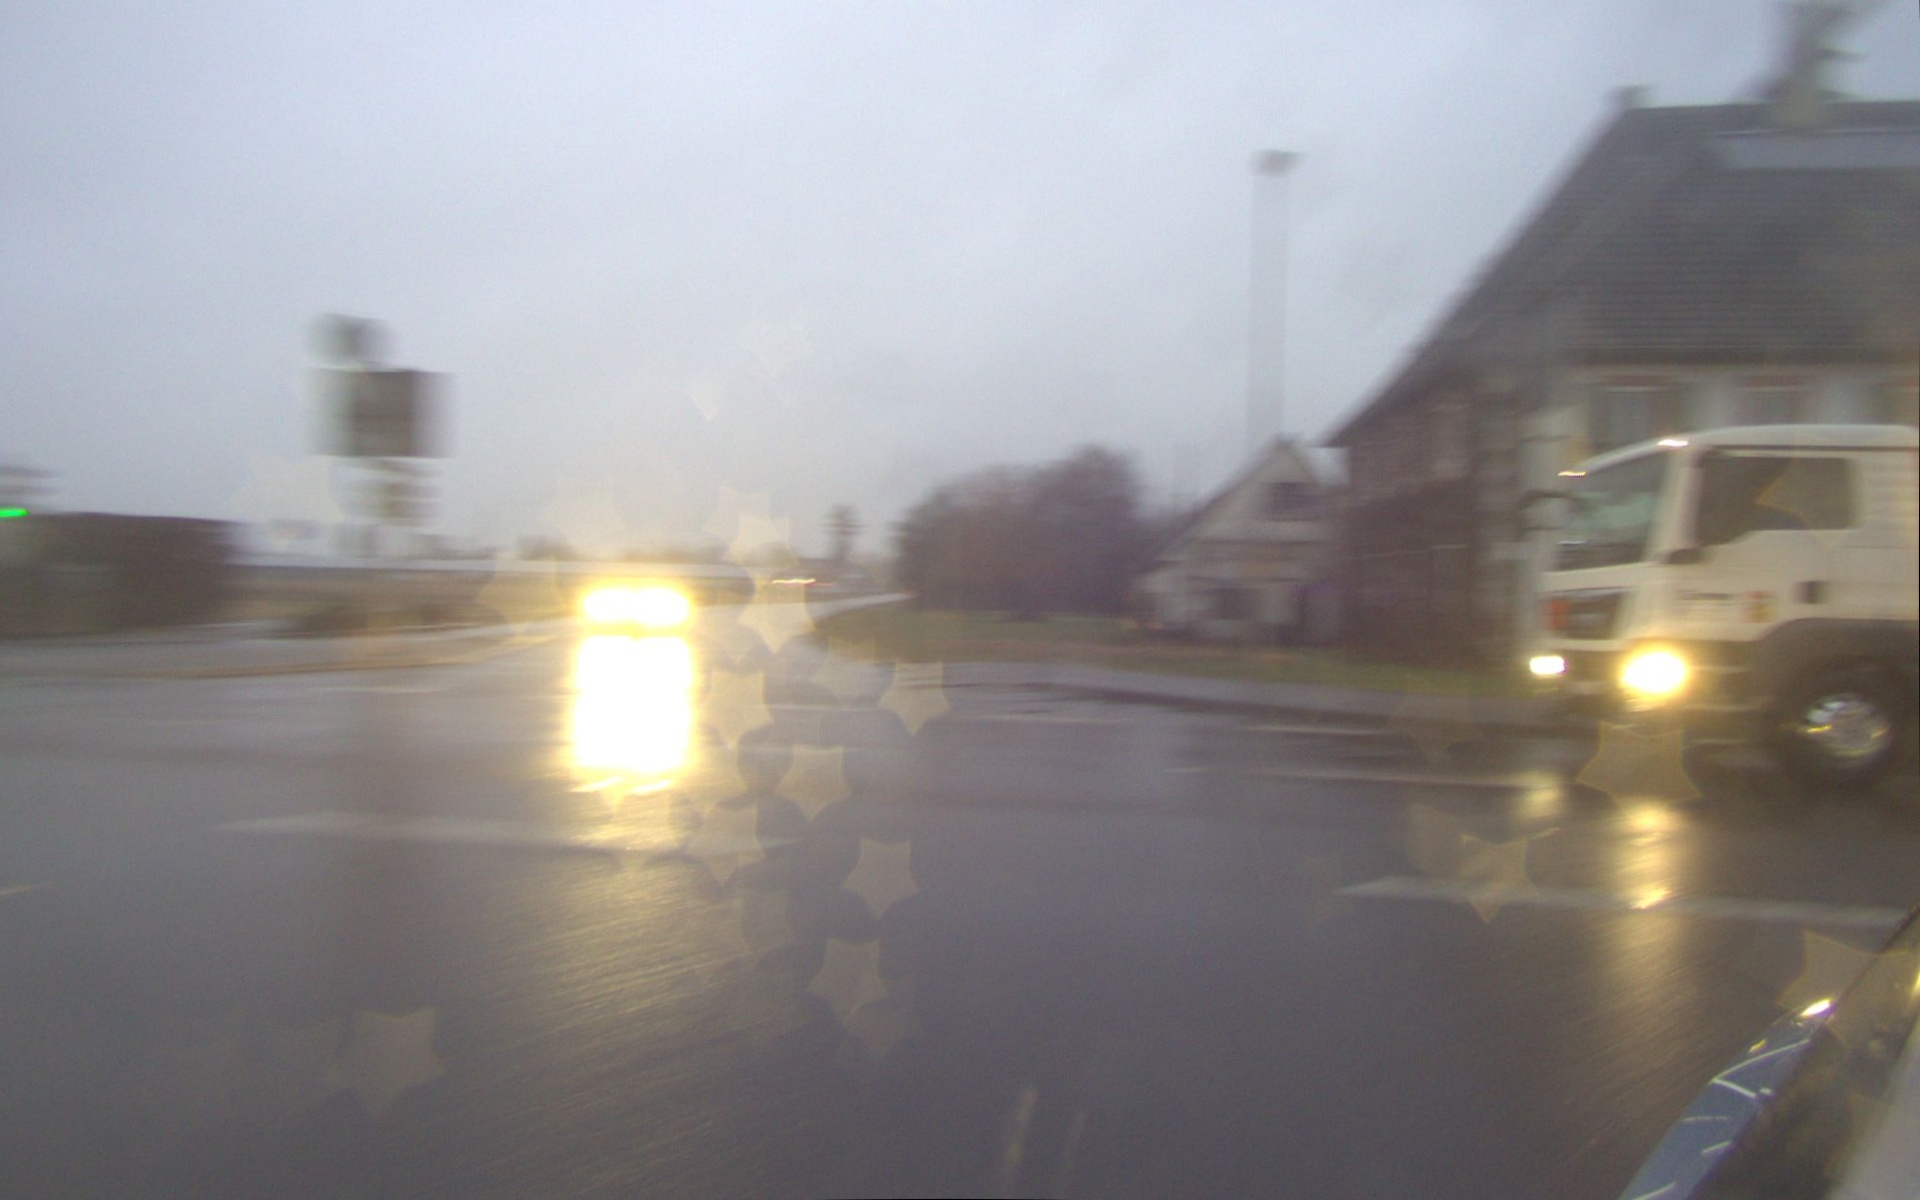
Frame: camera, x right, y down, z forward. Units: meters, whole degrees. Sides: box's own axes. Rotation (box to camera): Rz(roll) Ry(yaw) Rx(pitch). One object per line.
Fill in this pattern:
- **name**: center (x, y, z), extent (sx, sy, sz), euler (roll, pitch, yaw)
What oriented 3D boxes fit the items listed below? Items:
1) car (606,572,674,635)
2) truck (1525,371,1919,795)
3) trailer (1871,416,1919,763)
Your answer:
- **car**: center (-9.598, 0.083, 30.254), extent (1.780, 1.710, 3.925), euler (2, 0, -19)
- **truck**: center (8.799, -0.108, 8.877), extent (6.165, 3.271, 2.465), euler (1, 0, 7)
- **trailer**: center (14.292, 0.006, 8.220), extent (10.682, 3.282, 2.491), euler (1, 0, 7)
